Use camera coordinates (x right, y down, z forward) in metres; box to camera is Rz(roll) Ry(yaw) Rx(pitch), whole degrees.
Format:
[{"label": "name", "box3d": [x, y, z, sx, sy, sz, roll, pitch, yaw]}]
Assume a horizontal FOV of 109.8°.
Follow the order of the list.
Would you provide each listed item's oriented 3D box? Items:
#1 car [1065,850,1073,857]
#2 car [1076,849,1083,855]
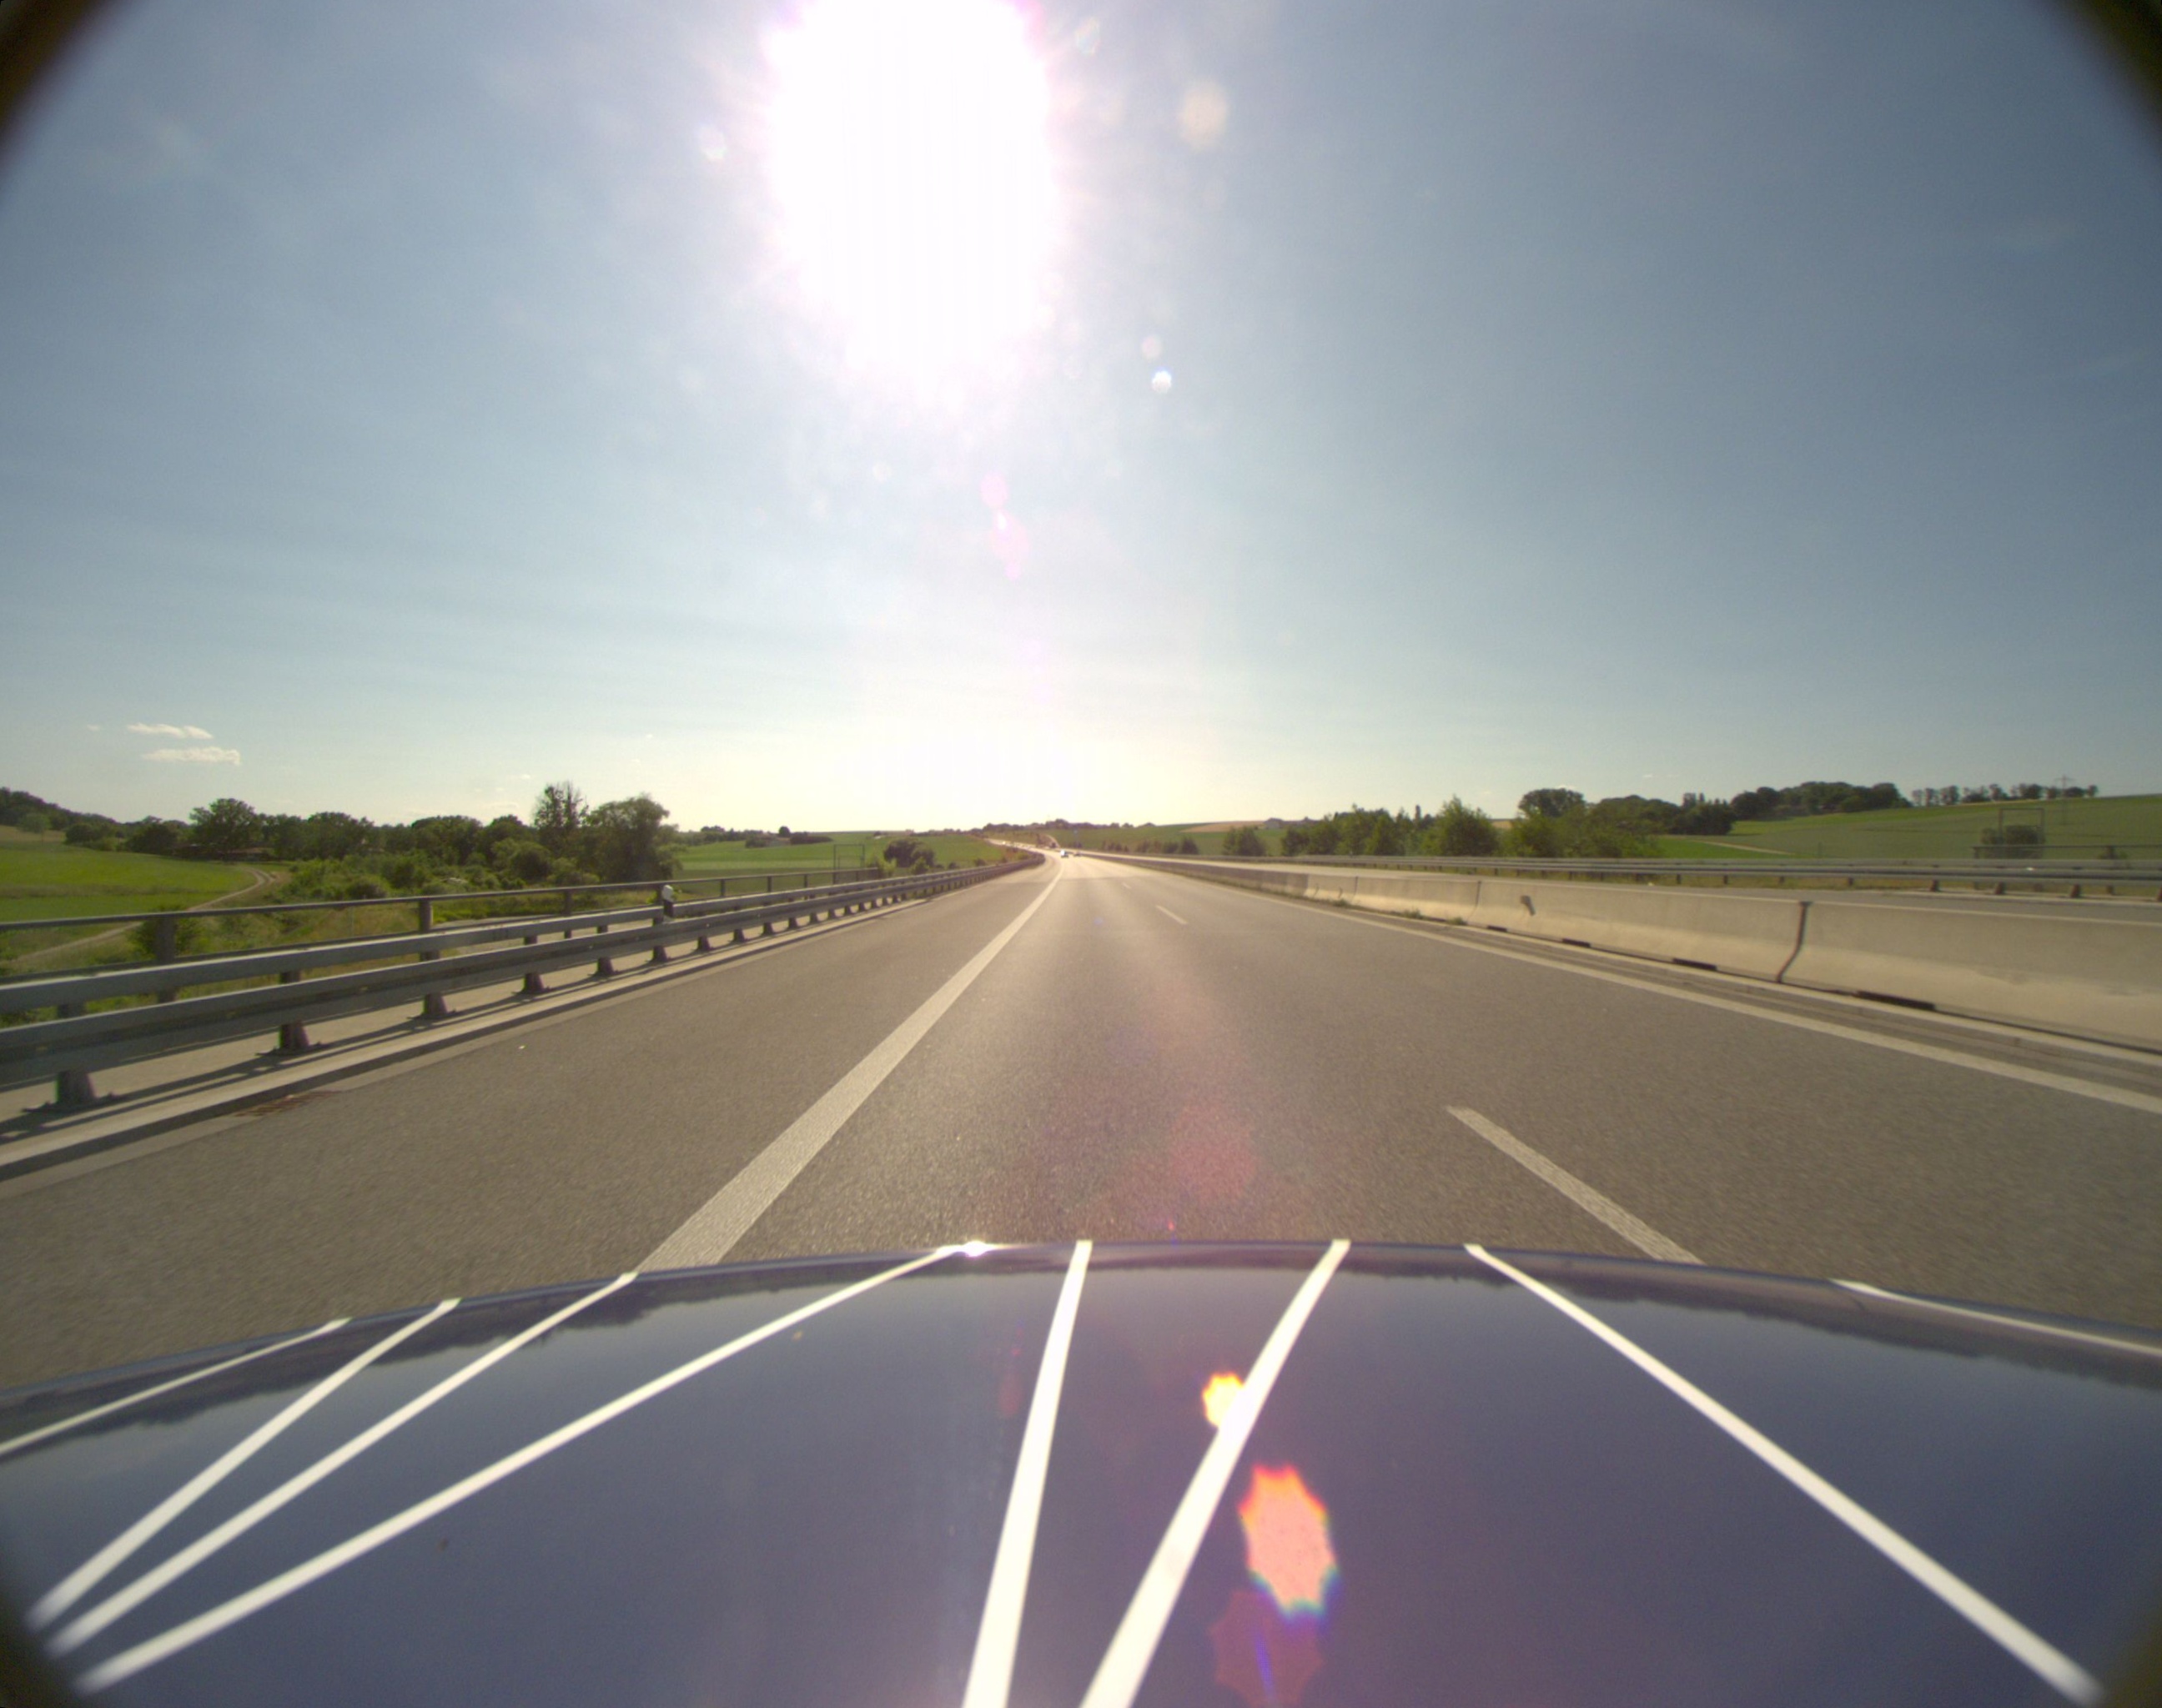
[{"label": "car", "box3d": [-3.136, -0.117, 195.517, 1.715, 1.580, 4.624, -2, 2, -3]}, {"label": "car", "box3d": [-0.407, -0.575, 210.324, 1.715, 1.580, 4.624, -2, 2, -3]}]
